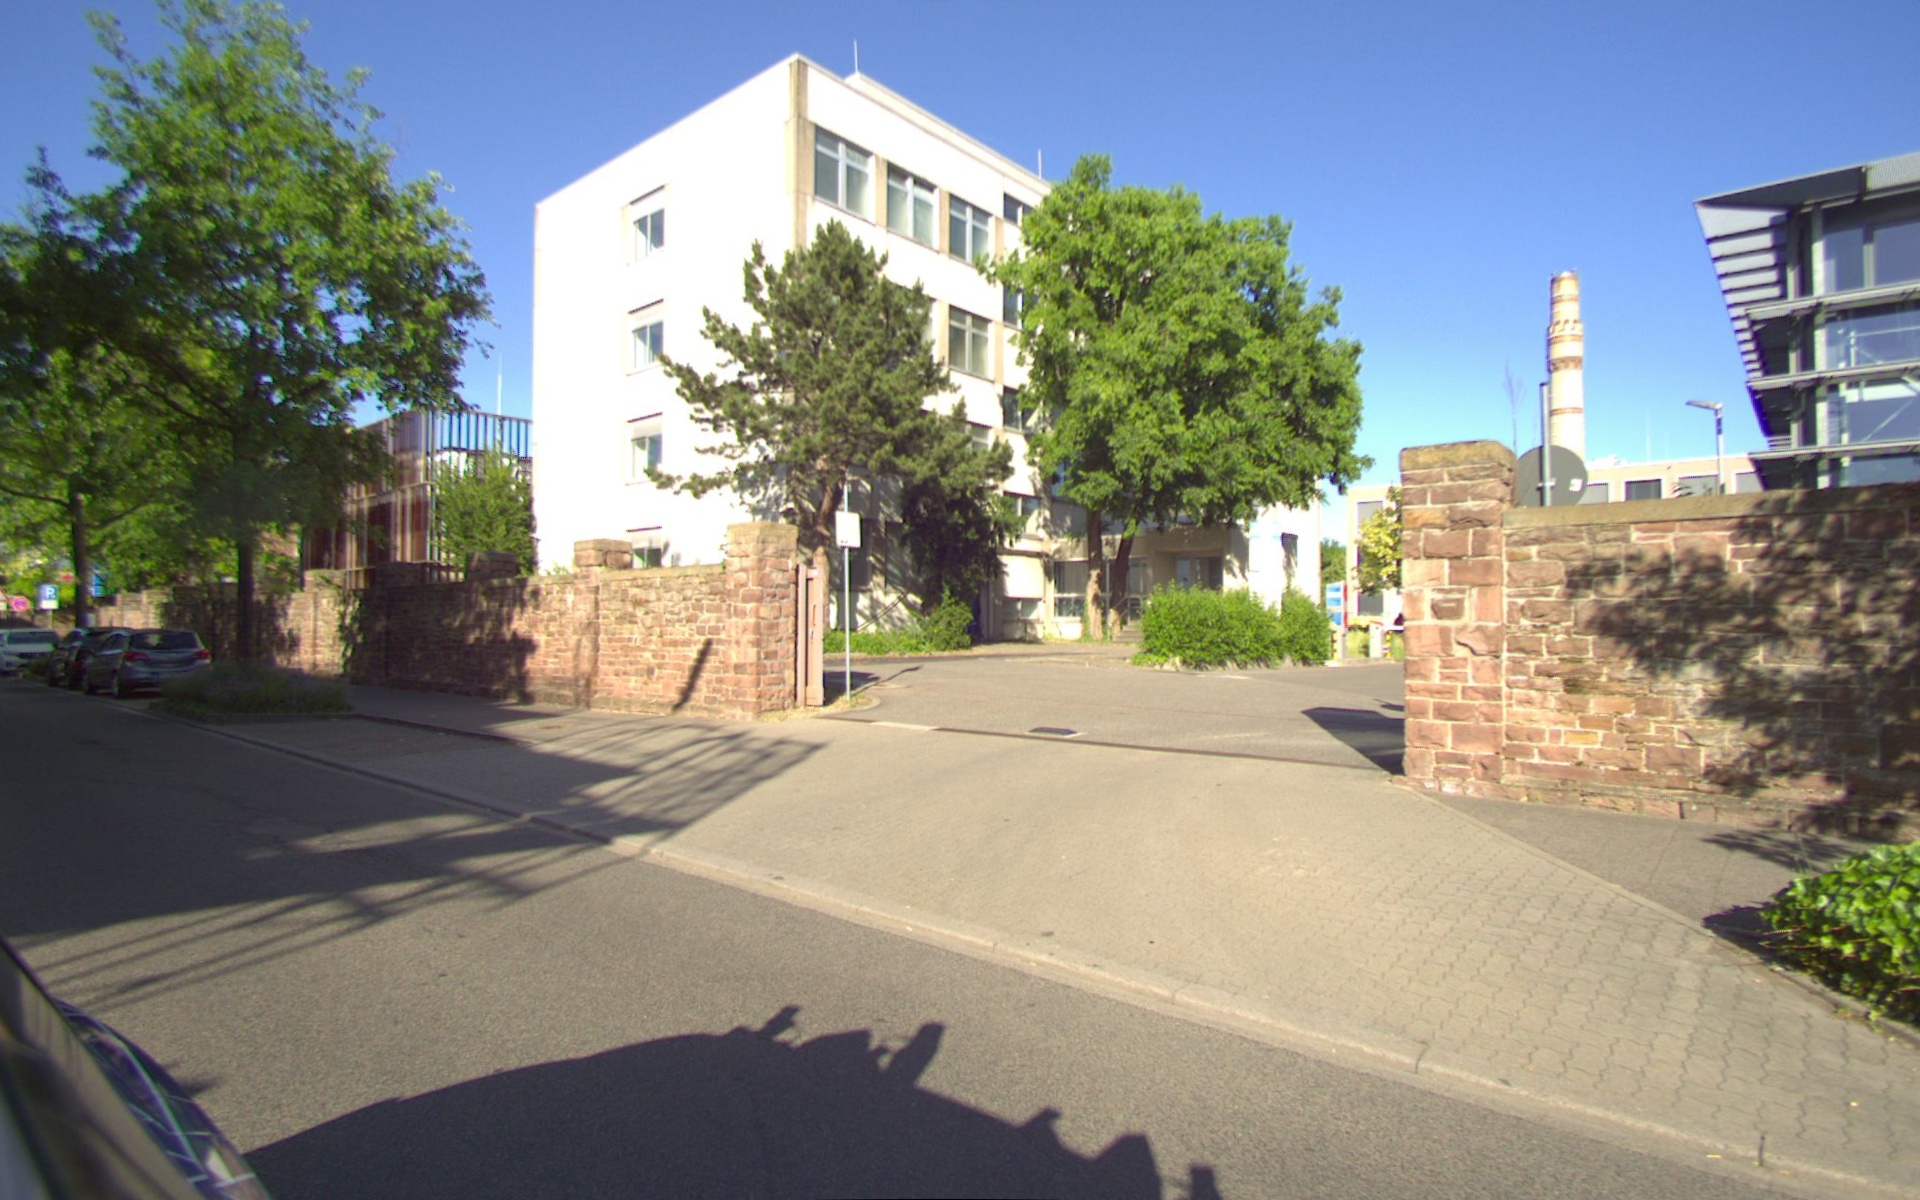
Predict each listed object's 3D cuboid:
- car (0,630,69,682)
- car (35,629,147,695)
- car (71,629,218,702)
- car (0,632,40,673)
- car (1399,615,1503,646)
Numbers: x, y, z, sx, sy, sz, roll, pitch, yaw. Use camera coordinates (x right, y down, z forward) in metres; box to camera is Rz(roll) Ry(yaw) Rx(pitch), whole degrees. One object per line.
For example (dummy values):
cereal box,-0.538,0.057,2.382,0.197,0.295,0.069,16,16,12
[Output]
car,-30.770,1.806,33.341,3.848,1.522,1.659,-2,1,42
car,-22.263,1.527,25.885,4.042,1.526,1.557,-2,-2,40
car,-18.187,1.392,22.538,3.832,1.432,1.671,-1,0,37
car,-35.593,1.940,37.606,3.748,1.412,1.558,-2,1,40
car,23.391,1.437,48.291,1.970,1.357,4.004,-1,0,-43
